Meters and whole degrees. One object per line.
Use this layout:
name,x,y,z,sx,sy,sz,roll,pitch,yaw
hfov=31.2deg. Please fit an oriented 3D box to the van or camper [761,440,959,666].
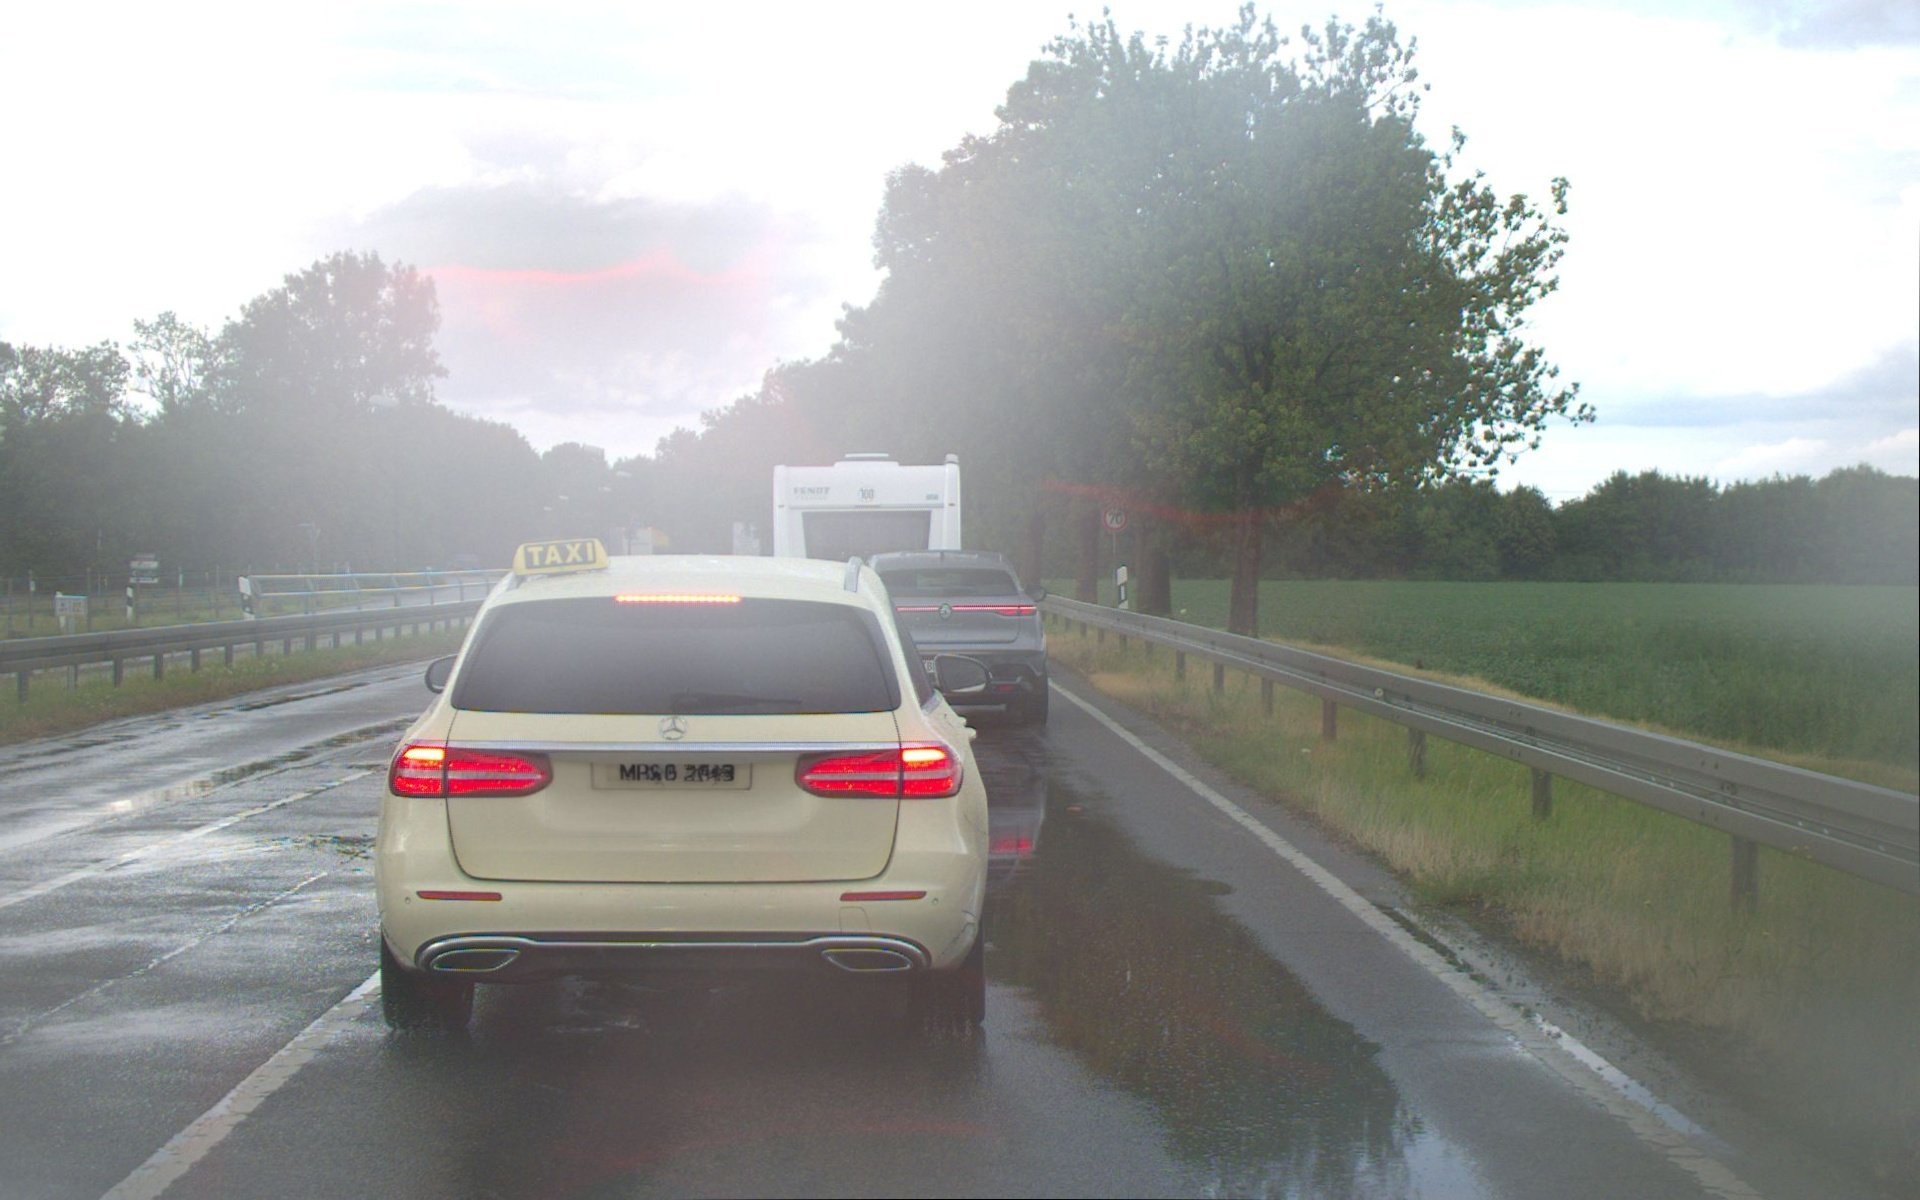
van or camper,-1.215,-0.622,43.846,2.350,2.671,5.769,0,1,0

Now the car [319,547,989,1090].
car,-0.825,0.571,11.519,1.825,1.480,4.145,0,1,1

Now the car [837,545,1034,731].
car,-0.220,0.286,30.353,1.627,1.524,3.933,0,1,0

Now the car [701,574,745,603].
car,-10.680,-0.547,155.263,1.758,1.265,4.000,0,1,0
